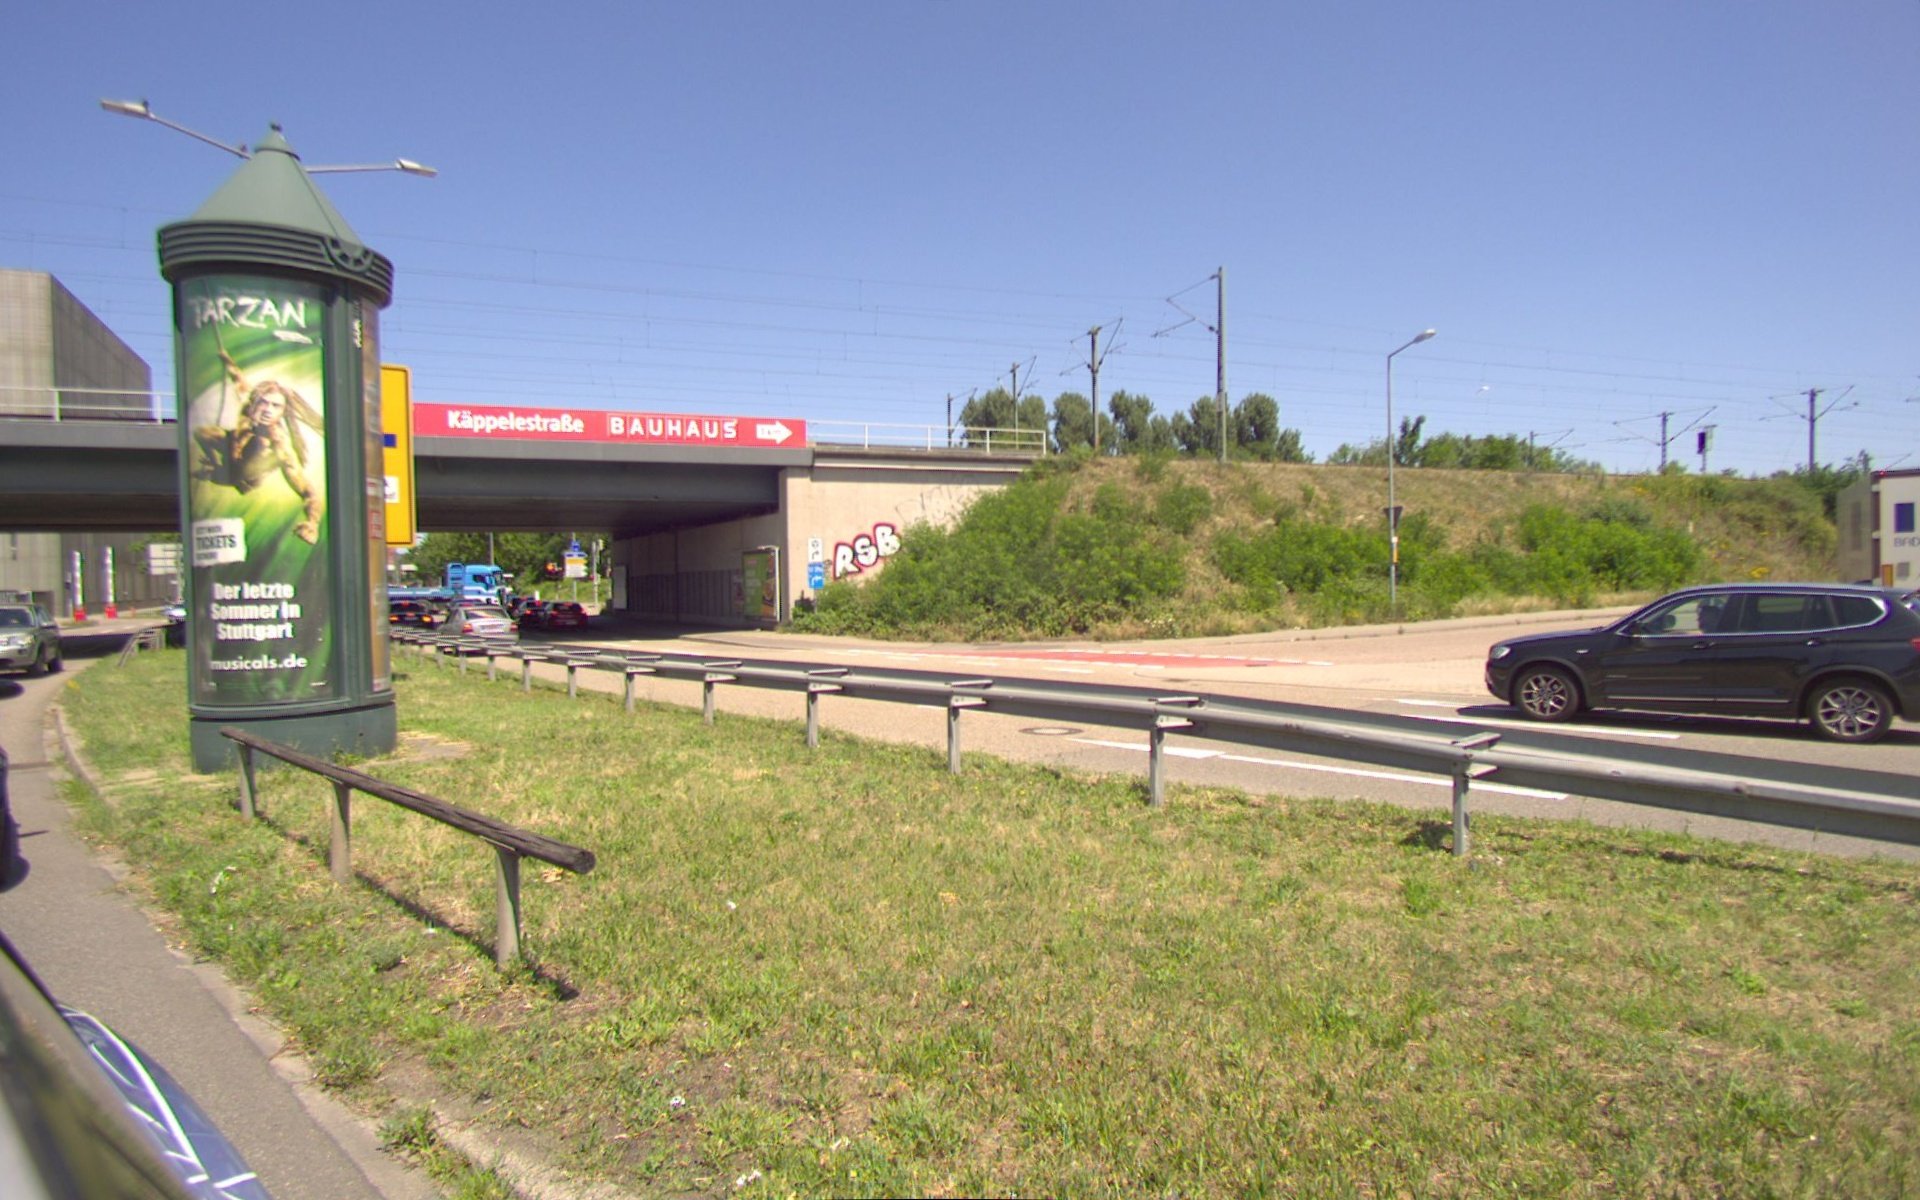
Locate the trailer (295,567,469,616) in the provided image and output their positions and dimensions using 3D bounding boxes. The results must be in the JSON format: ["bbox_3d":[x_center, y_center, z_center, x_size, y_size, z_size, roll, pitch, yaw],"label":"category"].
[{"bbox_3d":[-43.866,-0.592,76.698,13.777,3.398,2.948,-1,0,18],"label":"trailer"}]

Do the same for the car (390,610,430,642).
[{"bbox_3d":[-24.508,1.136,45.150,1.388,1.329,3.272,-1,0,-25],"label":"car"}]

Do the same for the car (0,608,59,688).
[{"bbox_3d":[-22.017,1.050,23.160,1.817,1.708,3.707,-1,0,-38],"label":"car"}]

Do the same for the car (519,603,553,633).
[{"bbox_3d":[-22.379,0.942,53.409,1.548,1.514,3.418,-1,0,-24],"label":"car"}]

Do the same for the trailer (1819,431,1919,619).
[{"bbox_3d":[25.151,-1.677,26.649,3.017,4.081,12.545,-3,-1,37],"label":"trailer"}]

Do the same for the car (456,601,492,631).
[{"bbox_3d":[-25.345,0.832,52.857,1.592,1.487,3.444,-1,0,-24],"label":"car"}]

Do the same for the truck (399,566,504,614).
[{"bbox_3d":[-37.743,-0.723,75.370,6.455,3.443,3.031,-1,0,-14],"label":"truck"}]

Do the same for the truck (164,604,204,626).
[{"bbox_3d":[-56.866,1.076,74.255,1.702,1.513,4.013,-1,0,-29],"label":"truck"}]

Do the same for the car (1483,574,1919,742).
[{"bbox_3d":[8.671,0.596,11.633,4.474,1.645,1.472,-2,-1,44],"label":"car"}]

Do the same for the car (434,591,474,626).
[{"bbox_3d":[-29.032,0.467,58.004,1.876,1.874,4.013,-1,0,-28],"label":"car"}]

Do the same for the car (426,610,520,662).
[{"bbox_3d":[-14.243,1.000,29.494,1.613,1.413,4.230,1,-1,-38],"label":"car"}]

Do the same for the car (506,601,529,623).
[{"bbox_3d":[-25.886,0.707,59.138,1.166,1.257,2.701,-1,0,-24],"label":"car"}]

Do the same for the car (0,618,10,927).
[{"bbox_3d":[-6.450,0.828,5.548,4.058,1.428,1.658,-1,0,45],"label":"car"}]

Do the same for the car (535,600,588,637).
[{"bbox_3d":[-19.182,0.847,48.603,1.747,1.680,4.027,-1,0,-31],"label":"car"}]
